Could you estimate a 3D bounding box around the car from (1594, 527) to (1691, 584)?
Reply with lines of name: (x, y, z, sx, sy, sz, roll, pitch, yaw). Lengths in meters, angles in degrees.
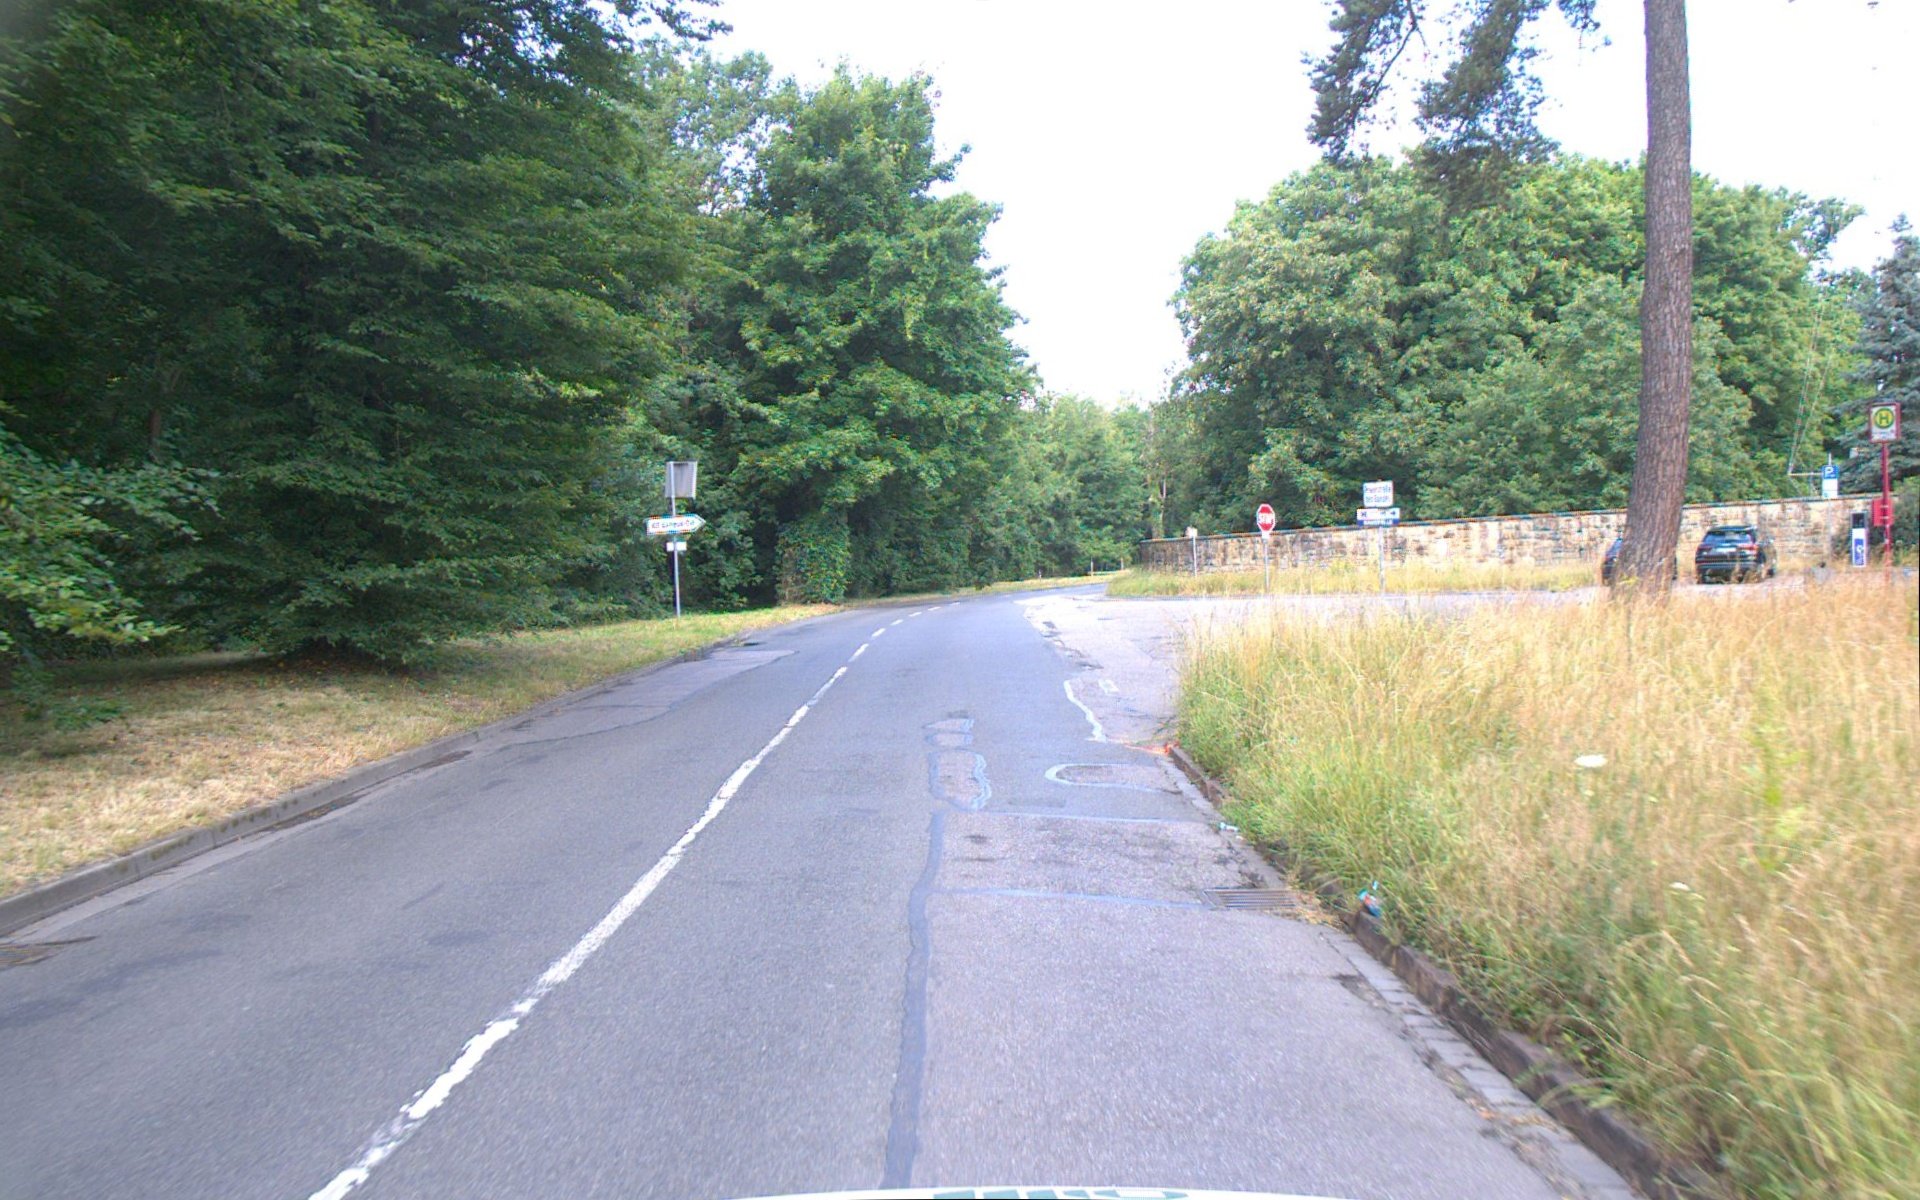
car: (20.736, -1.379, 50.194, 1.841, 1.466, 3.987, -2, 3, 35)

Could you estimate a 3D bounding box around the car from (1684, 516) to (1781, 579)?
car: (22.495, -1.551, 48.082, 1.861, 1.573, 3.988, -2, 3, 35)
